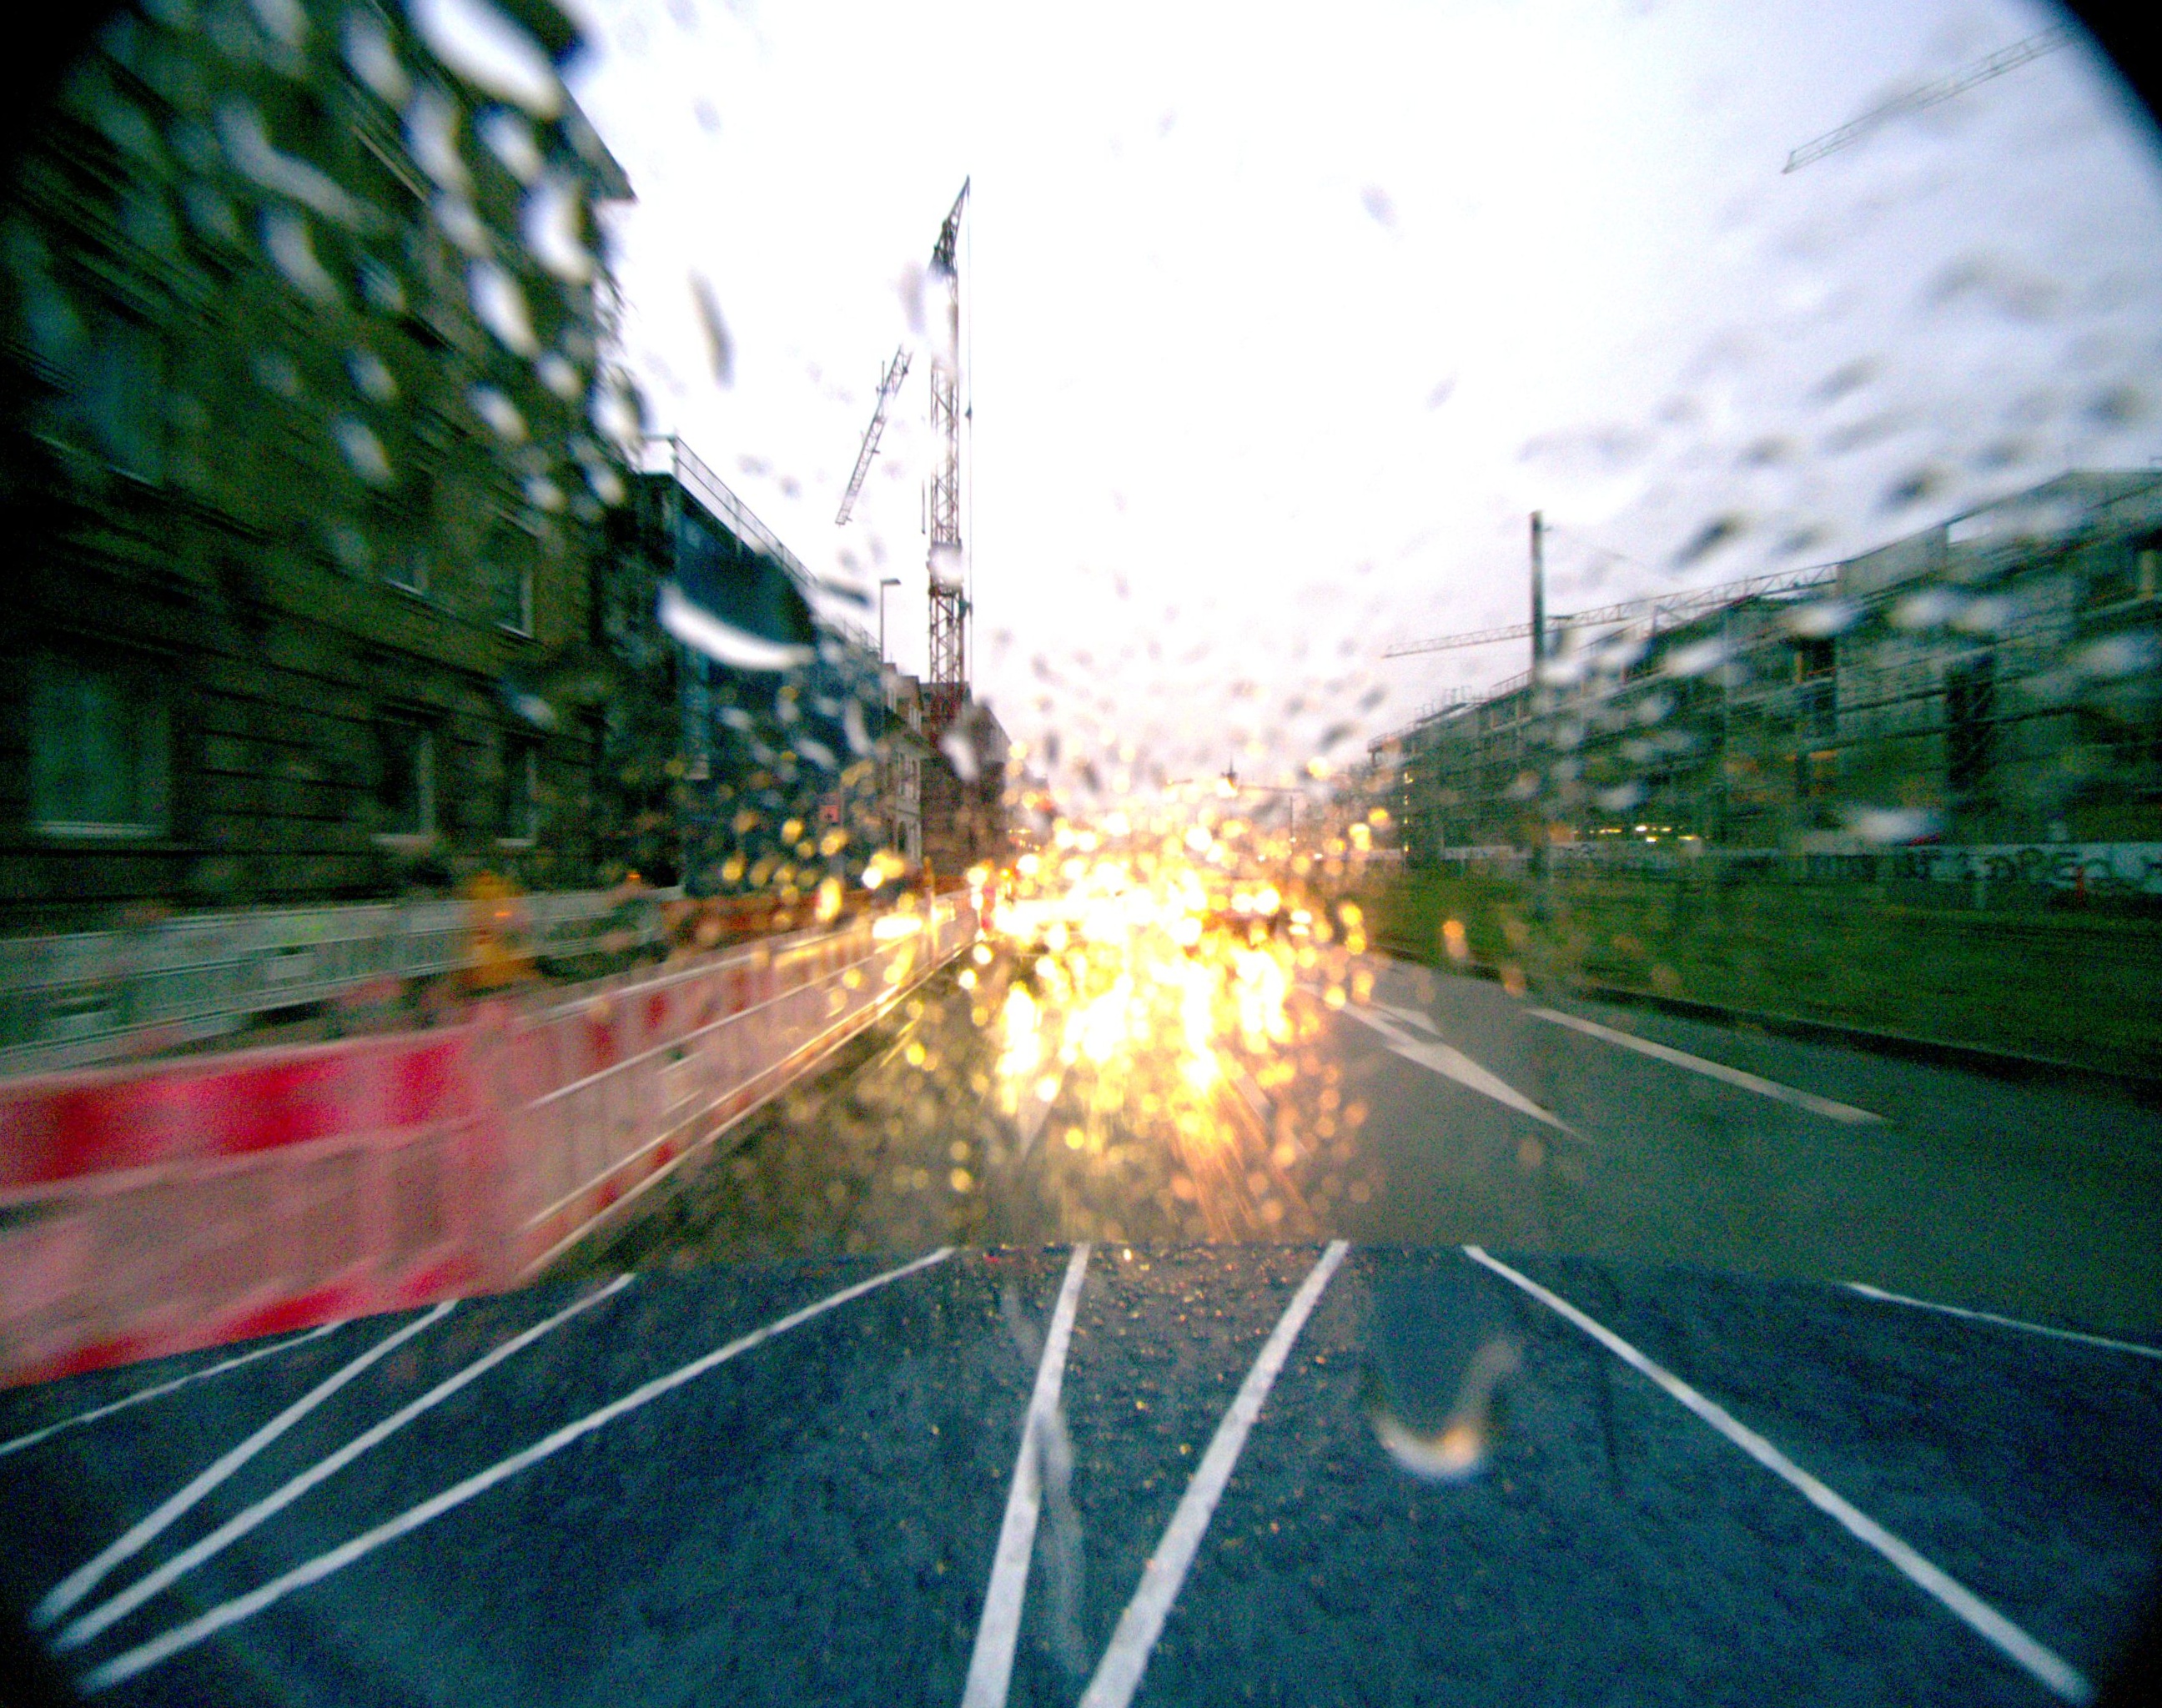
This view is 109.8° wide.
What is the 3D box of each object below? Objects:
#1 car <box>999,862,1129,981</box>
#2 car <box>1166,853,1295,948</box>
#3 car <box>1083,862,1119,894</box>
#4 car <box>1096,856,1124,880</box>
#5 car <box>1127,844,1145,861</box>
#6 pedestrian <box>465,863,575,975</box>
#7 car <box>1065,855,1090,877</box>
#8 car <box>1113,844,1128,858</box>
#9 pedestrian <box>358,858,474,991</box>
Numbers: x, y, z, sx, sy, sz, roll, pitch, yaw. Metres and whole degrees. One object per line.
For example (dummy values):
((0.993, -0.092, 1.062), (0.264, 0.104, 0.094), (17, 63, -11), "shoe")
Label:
((-0.254, 0.970, 12.609), (1.769, 1.504, 3.899), (-2, 1, -1), "car")
((2.868, 0.832, 15.455), (1.815, 1.636, 4.135), (-1, 0, 1), "car")
((1.030, 1.232, 40.779), (1.769, 1.504, 3.899), (-2, 1, -1), "car")
((2.021, 0.972, 54.578), (1.769, 1.504, 3.899), (-2, 1, -1), "car")
((5.589, -0.168, 77.815), (1.768, 1.614, 3.900), (-2, 1, 3), "car")
((-8.030, 0.896, 10.918), (0.870, 1.536, 0.929), (0, 0, 1), "pedestrian")
((-0.304, 0.897, 57.574), (1.769, 1.504, 3.899), (-2, 1, -1), "car")
((5.047, -0.391, 97.507), (1.768, 1.614, 3.900), (-2, 1, 3), "car")
((-8.616, 0.890, 9.873), (0.870, 1.663, 0.707), (0, 0, 0), "pedestrian")
